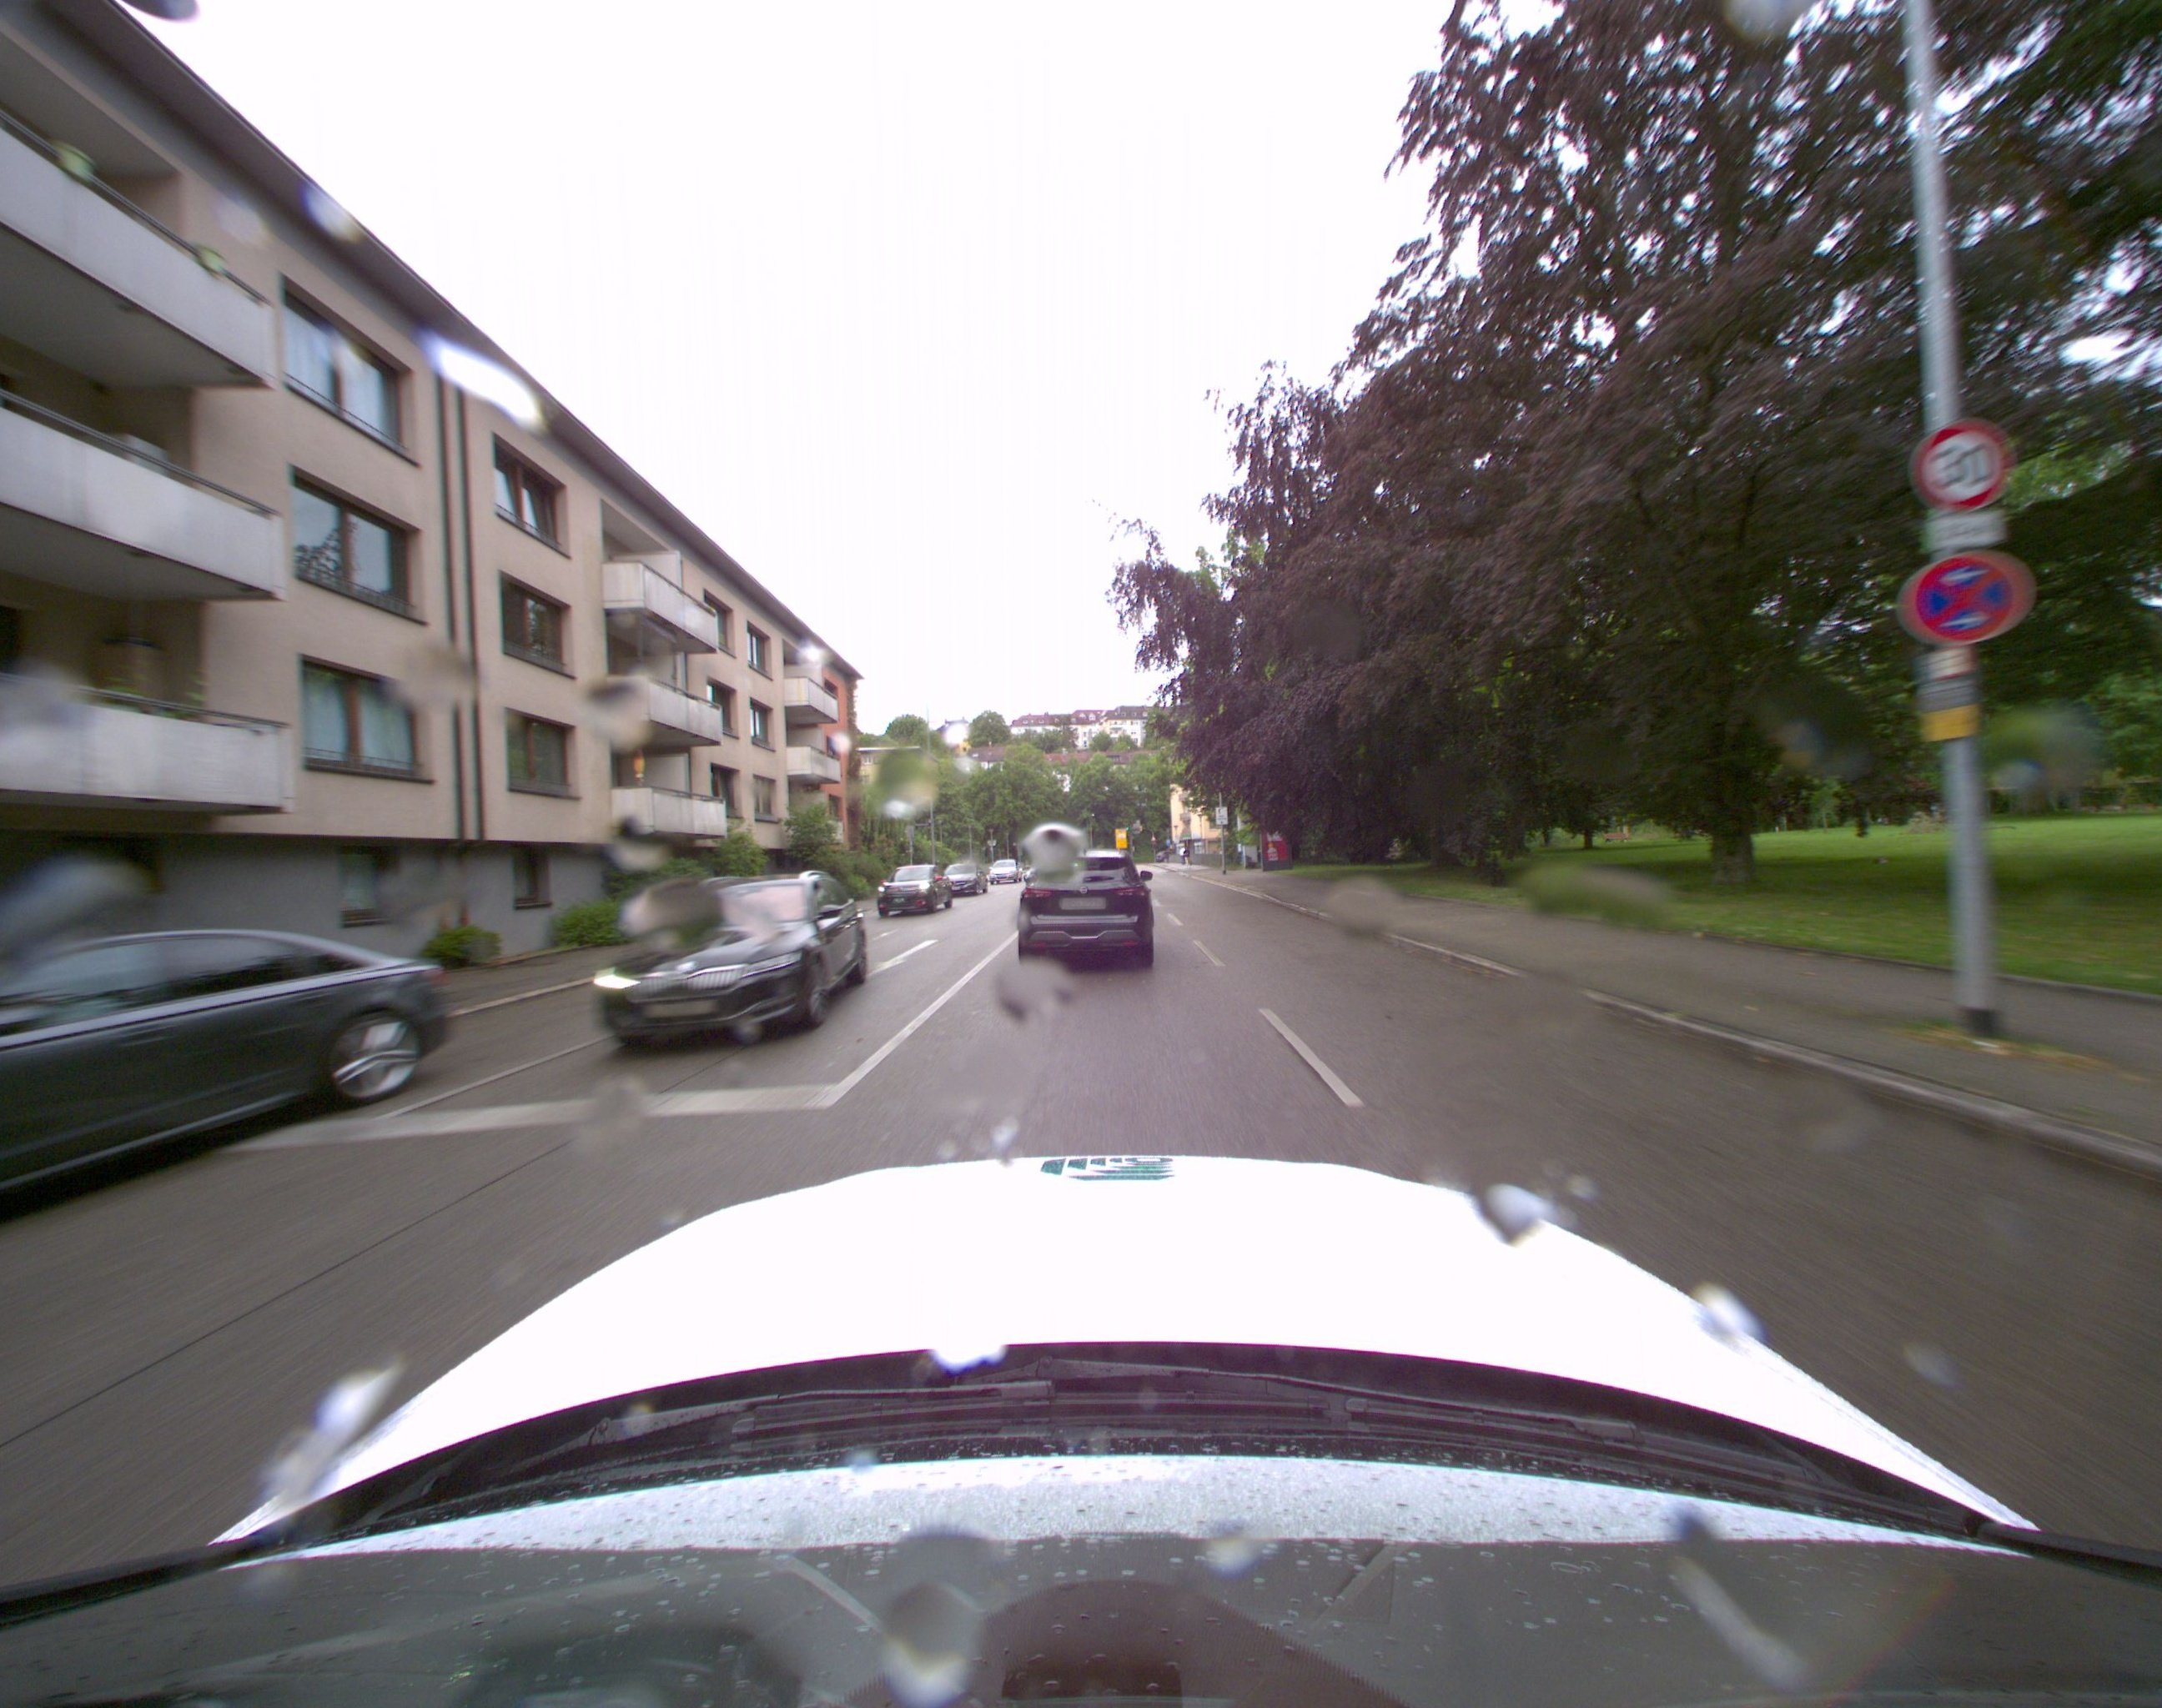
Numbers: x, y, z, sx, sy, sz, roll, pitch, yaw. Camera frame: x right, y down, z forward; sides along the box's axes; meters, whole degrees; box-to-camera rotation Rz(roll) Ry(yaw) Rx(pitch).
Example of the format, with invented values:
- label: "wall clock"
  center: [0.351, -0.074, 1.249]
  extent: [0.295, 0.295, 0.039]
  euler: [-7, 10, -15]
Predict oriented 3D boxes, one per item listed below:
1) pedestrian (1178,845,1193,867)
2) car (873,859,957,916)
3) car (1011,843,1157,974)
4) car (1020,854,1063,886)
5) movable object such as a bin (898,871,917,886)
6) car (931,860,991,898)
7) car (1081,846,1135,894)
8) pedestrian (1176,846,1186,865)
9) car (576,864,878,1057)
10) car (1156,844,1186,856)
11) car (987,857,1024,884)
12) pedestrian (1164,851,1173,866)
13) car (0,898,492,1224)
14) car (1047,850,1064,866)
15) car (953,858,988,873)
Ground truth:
- label: "pedestrian"
  center: [8.062, 0.160, 62.803]
  extent: [0.844, 1.676, 1.168]
  euler: [-5, -1, 1]
- label: "car"
  center: [-5.165, 1.003, 25.800]
  extent: [1.680, 1.491, 3.891]
  euler: [-4, 0, 1]
- label: "car"
  center: [0.101, 0.680, 12.284]
  extent: [1.804, 1.603, 4.002]
  euler: [-2, 0, 2]
- label: "car"
  center: [-1.983, 0.785, 42.255]
  extent: [1.787, 1.415, 4.337]
  euler: [-4, 0, 1]
- label: "movable object such as a bin"
  center: [-11.204, 1.559, 52.660]
  extent: [0.962, 0.877, 0.833]
  euler: [-3, -1, 1]
- label: "car"
  center: [-5.325, 1.070, 36.794]
  extent: [1.806, 1.415, 4.684]
  euler: [-4, 0, 1]
- label: "car"
  center: [0.974, 0.549, 29.839]
  extent: [1.804, 1.603, 4.002]
  euler: [-1, 0, 2]
- label: "pedestrian"
  center: [9.522, 0.163, 77.305]
  extent: [0.774, 1.752, 1.064]
  euler: [-3, -1, 13]
- label: "car"
  center: [-3.529, 0.916, 9.120]
  extent: [1.795, 1.457, 4.479]
  euler: [-5, 0, -7]
- label: "car"
  center: [14.355, -0.652, 129.826]
  extent: [4.387, 1.649, 1.868]
  euler: [-4, -1, -24]
- label: "car"
  center: [-4.720, 1.001, 51.376]
  extent: [1.806, 1.415, 4.050]
  euler: [-4, 0, 1]
- label: "pedestrian"
  center: [10.050, 0.541, 93.447]
  extent: [0.758, 1.677, 0.781]
  euler: [-5, 0, 2]
- label: "car"
  center: [-6.160, 1.159, 4.710]
  extent: [1.806, 1.415, 4.808]
  euler: [-5, 0, 1]
- label: "car"
  center: [-3.994, 0.634, 129.063]
  extent: [2.281, 2.308, 6.511]
  euler: [-4, 0, 1]
- label: "car"
  center: [-15.321, 1.597, 113.441]
  extent: [4.738, 1.854, 1.995]
  euler: [-3, 1, -7]
